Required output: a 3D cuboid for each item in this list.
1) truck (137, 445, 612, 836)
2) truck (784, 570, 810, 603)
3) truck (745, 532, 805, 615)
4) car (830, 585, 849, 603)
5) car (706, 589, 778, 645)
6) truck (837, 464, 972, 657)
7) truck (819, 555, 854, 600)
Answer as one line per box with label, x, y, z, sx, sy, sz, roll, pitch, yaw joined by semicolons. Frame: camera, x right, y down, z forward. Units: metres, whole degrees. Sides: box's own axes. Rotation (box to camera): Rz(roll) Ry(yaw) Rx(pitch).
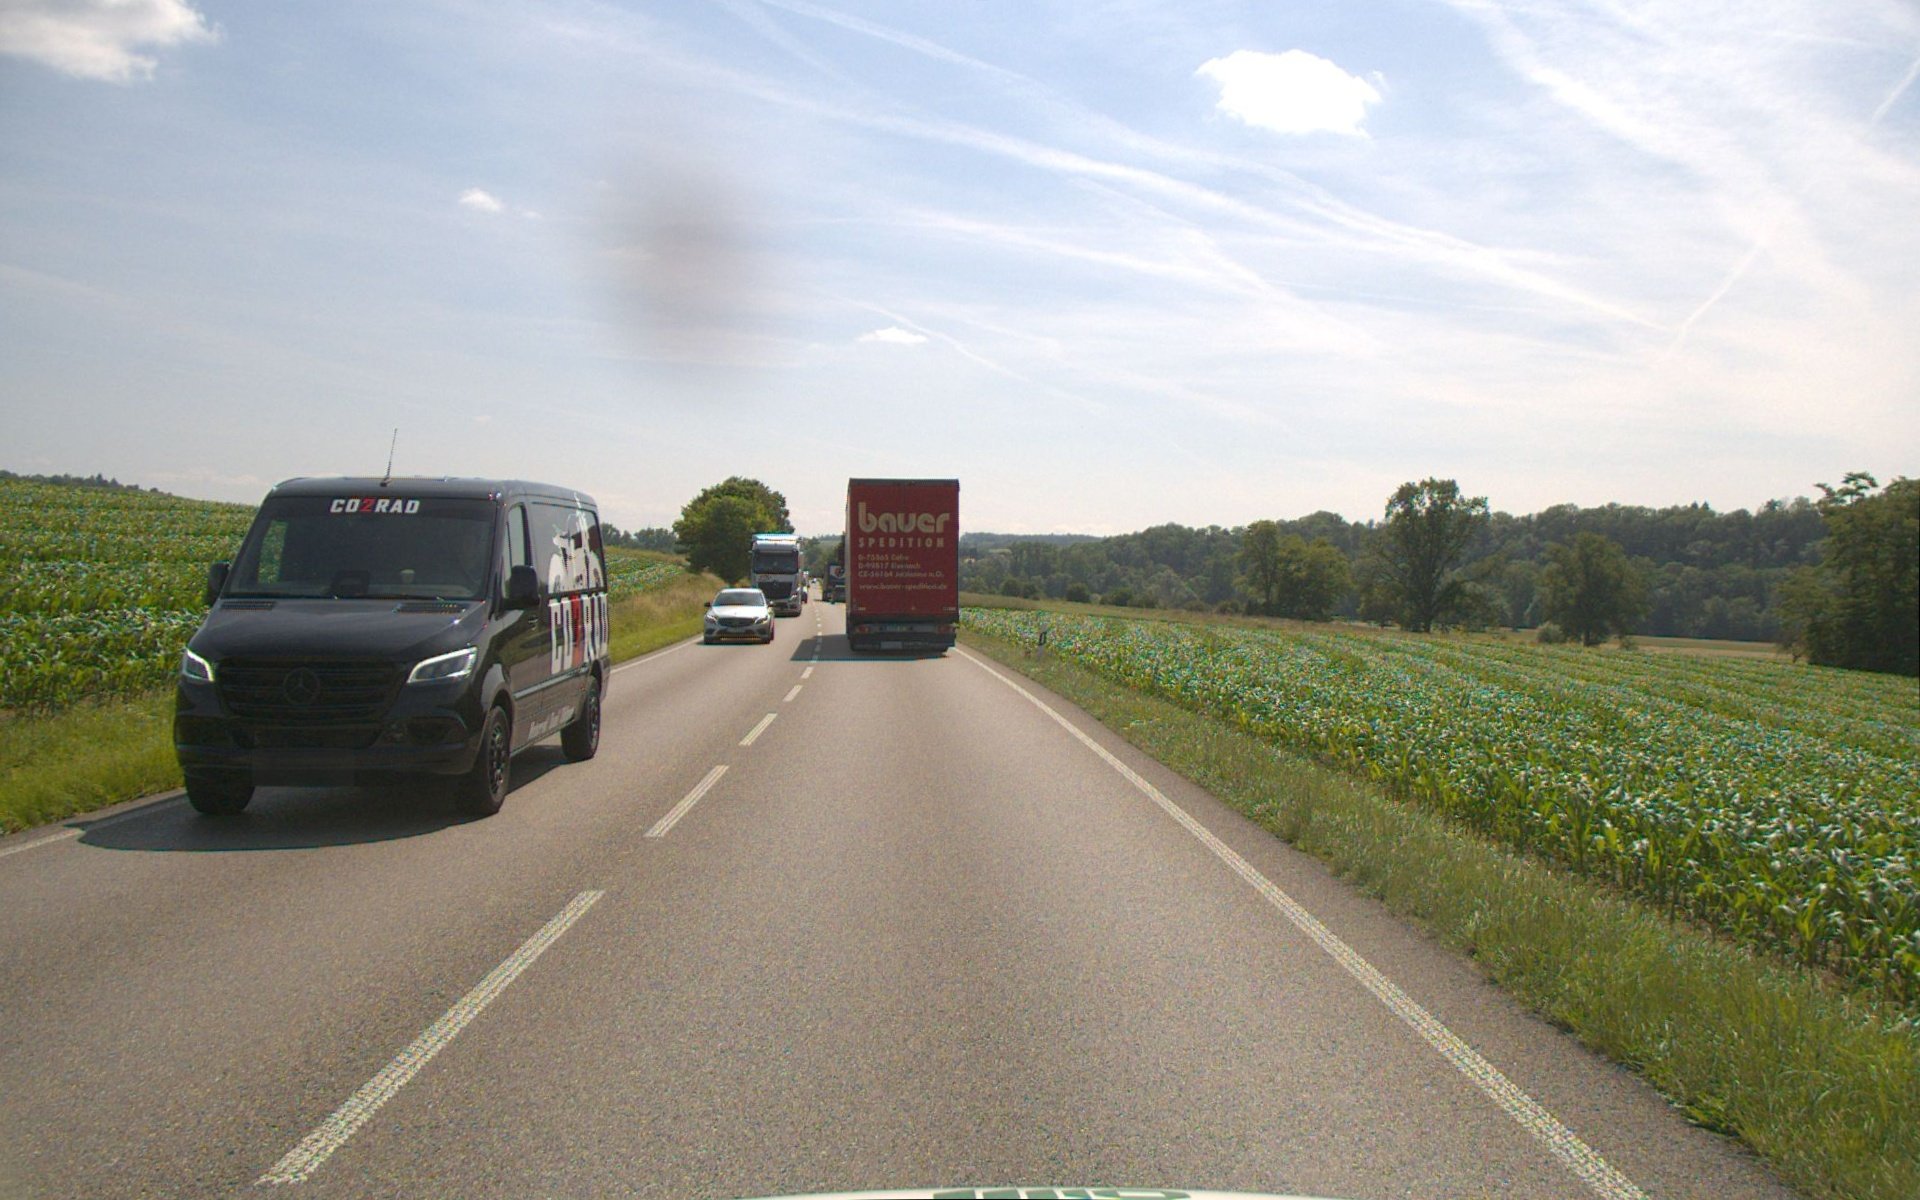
truck;-4.105;0.243;12.669;1.969;2.360;5.189;1;0;-3
truck;-13.980;-1.124;141.771;2.165;2.718;6.409;0;0;-6
truck;-9.891;-1.348;89.607;2.771;4.062;16.516;0;0;-5
car;-10.553;-0.492;145.101;1.550;1.527;3.874;1;0;-3
car;-6.032;0.439;46.067;1.694;1.466;4.174;0;0;-4
truck;-1.516;-0.866;41.619;3.033;4.337;8.308;0;0;-4
truck;-12.896;-2.305;173.599;3.568;4.367;11.976;0;-1;-4
